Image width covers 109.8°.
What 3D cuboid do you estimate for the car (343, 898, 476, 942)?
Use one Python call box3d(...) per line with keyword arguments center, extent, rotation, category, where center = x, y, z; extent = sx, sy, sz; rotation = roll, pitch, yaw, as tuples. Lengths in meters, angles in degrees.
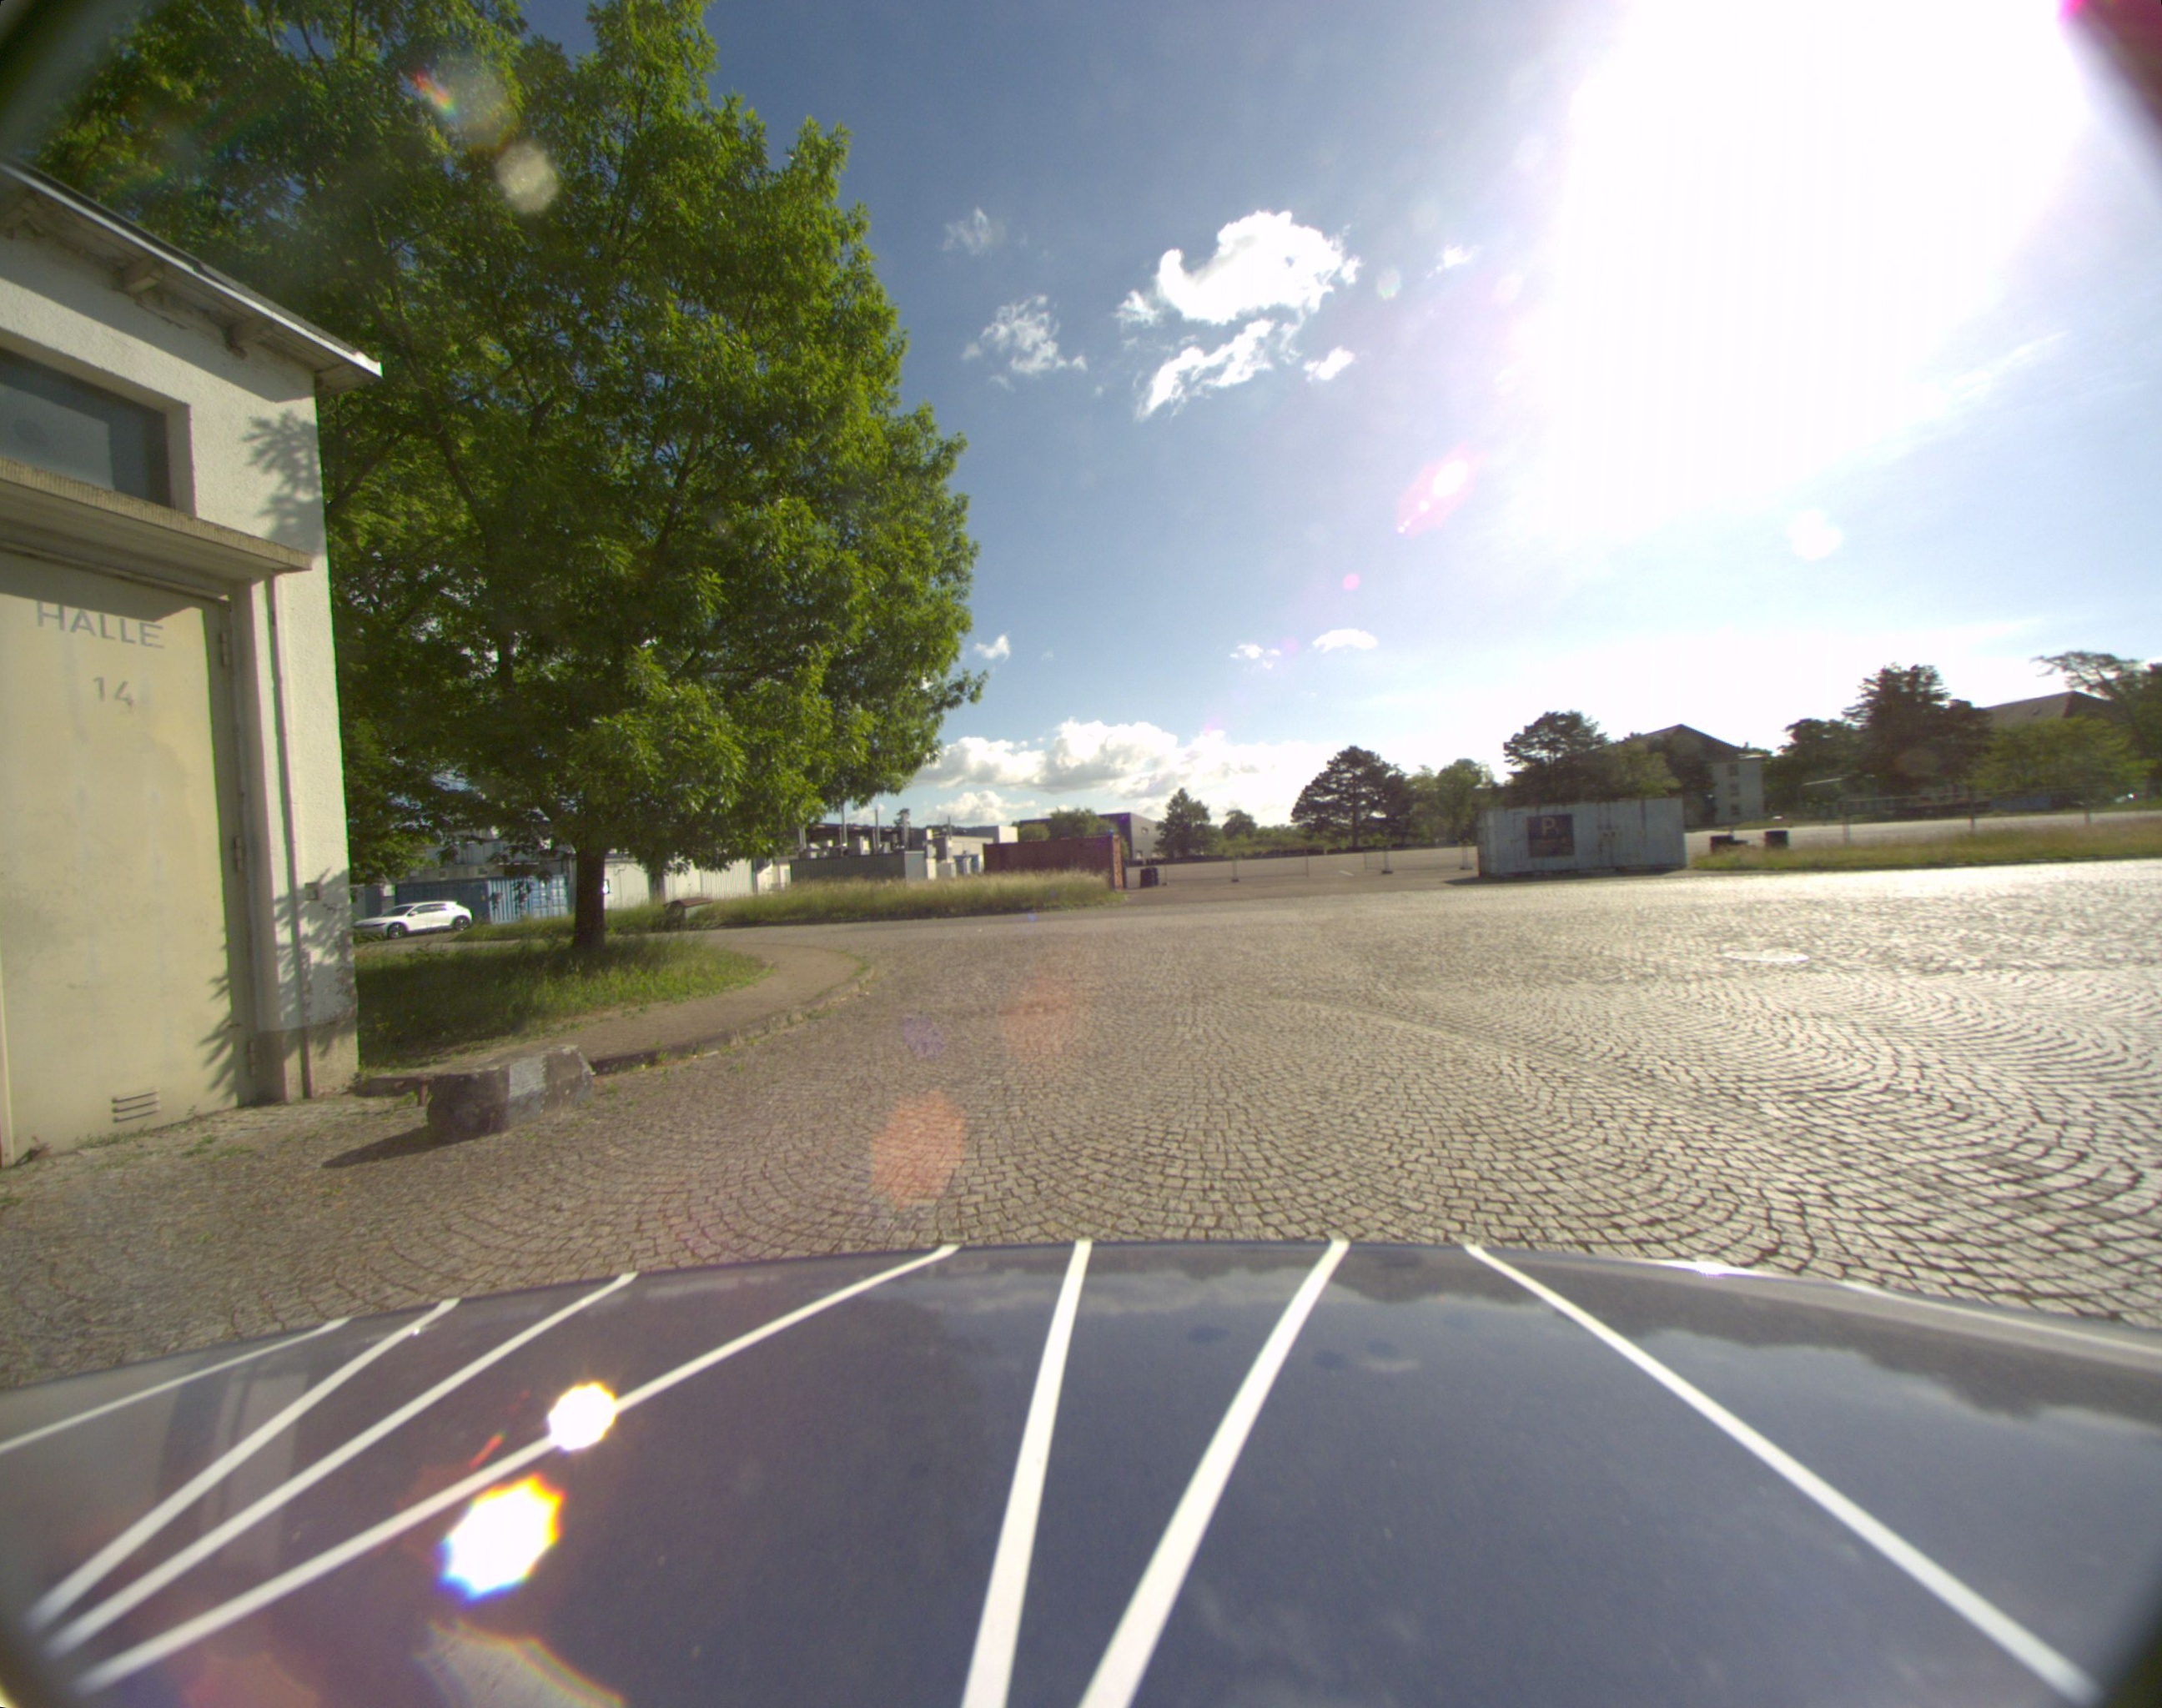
box3d(center=(-31.951, 3.088, 36.359), extent=(1.822, 1.583, 4.523), rotation=(-4, 0, 11), category="car")
